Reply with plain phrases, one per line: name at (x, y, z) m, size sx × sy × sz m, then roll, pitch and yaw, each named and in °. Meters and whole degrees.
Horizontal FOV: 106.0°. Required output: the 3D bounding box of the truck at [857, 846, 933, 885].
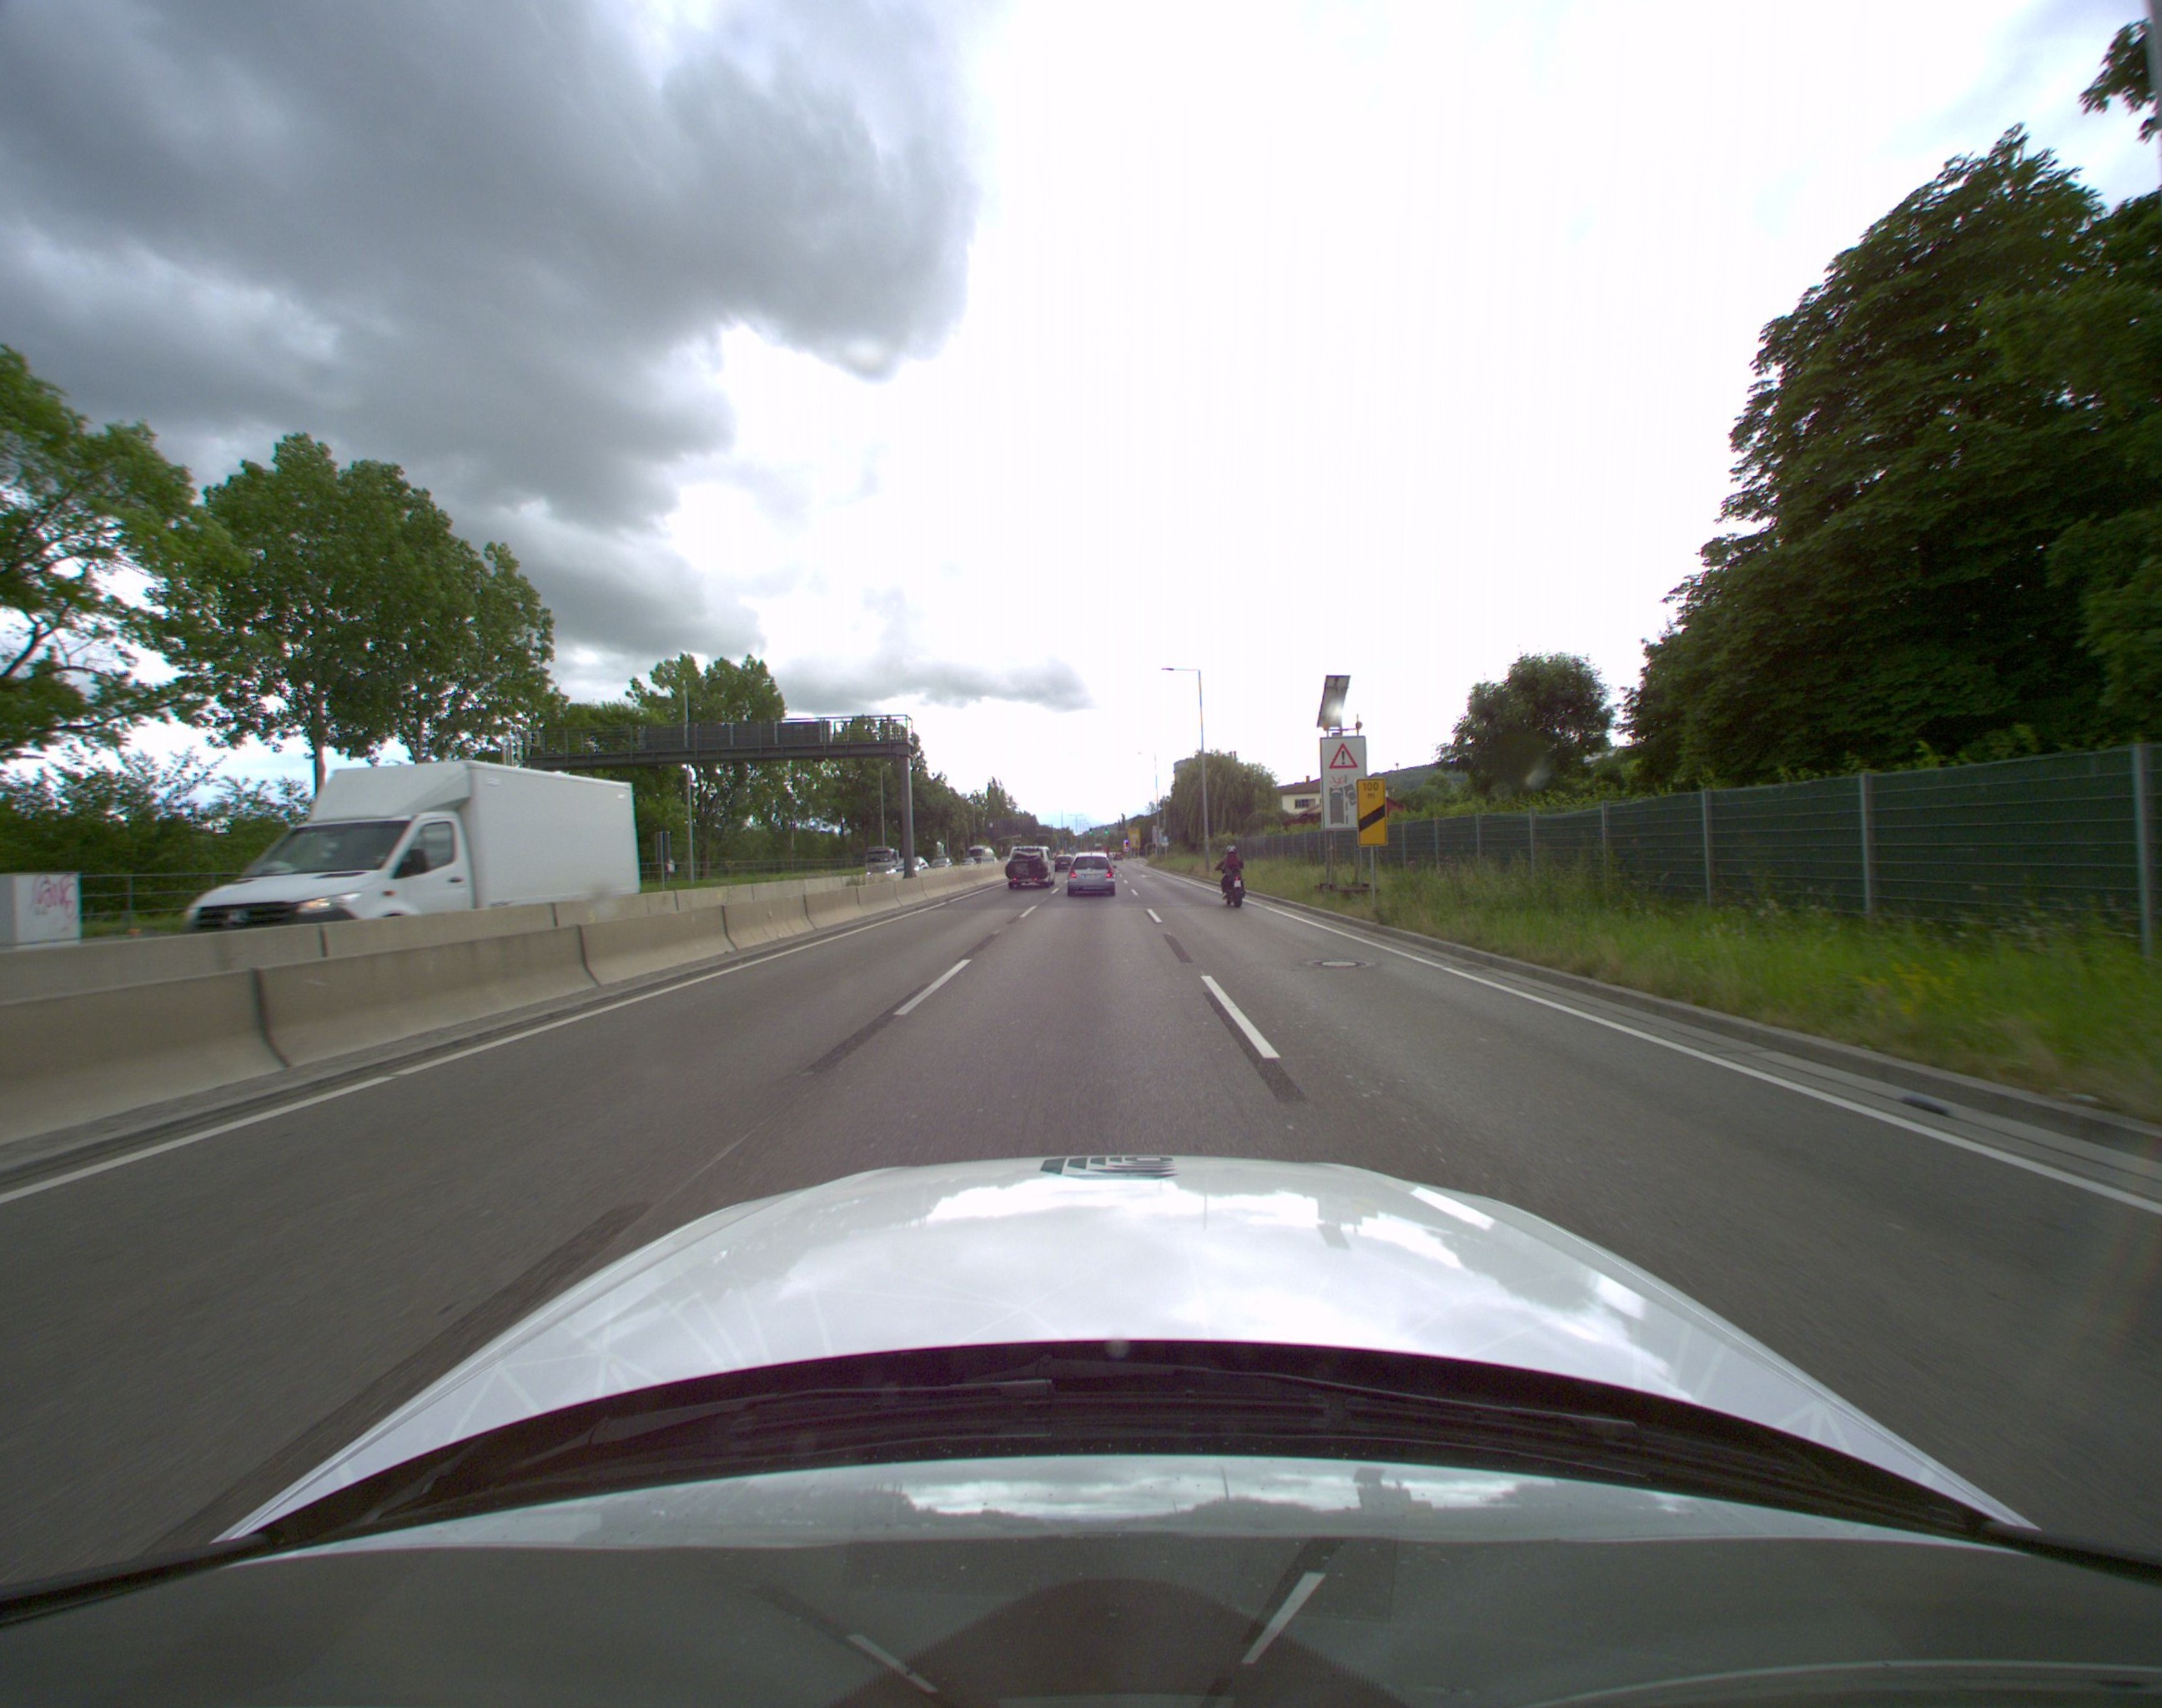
truck at (-16.312, 0.909, 72.985) m, size 2.844 × 3.107 × 15.888 m, roll 0°, pitch 0°, yaw 1°

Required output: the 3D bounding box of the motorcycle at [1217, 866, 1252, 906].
motorcycle at (4.279, 0.878, 22.835) m, size 0.703 × 1.040 × 2.029 m, roll 0°, pitch 0°, yaw 3°

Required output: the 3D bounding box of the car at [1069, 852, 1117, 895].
car at (0.471, 0.683, 30.912) m, size 1.704 × 1.530 × 4.001 m, roll 0°, pitch 0°, yaw 1°

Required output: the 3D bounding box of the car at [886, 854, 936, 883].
car at (-10.177, 0.845, 49.071) m, size 1.918 × 1.618 × 4.457 m, roll 0°, pitch 0°, yaw 2°

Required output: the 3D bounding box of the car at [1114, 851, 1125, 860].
car at (7.360, 0.286, 157.491) m, size 1.987 × 1.552 × 4.000 m, roll 0°, pitch 0°, yaw 0°

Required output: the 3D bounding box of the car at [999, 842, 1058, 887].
car at (-2.299, 0.453, 37.248) m, size 2.206 × 1.925 × 5.004 m, roll 0°, pitch 0°, yaw 2°

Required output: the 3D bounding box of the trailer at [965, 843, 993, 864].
trailer at (-16.016, -0.104, 128.622) m, size 3.091 × 3.220 × 11.664 m, roll 0°, pitch 0°, yaw -1°

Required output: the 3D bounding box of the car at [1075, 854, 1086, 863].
car at (-0.062, 0.735, 140.140) m, size 1.987 × 1.552 × 4.000 m, roll 0°, pitch 0°, yaw 0°

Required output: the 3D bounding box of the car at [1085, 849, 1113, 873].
car at (1.317, 0.468, 58.674) m, size 1.900 × 1.684 × 4.002 m, roll 0°, pitch 0°, yaw 2°

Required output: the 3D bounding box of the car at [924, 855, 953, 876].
car at (-12.981, 1.002, 74.572) m, size 1.809 × 1.877 × 4.102 m, roll 0°, pitch 0°, yaw 2°

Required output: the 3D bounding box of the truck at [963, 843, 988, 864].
truck at (-15.974, -0.086, 123.470) m, size 3.089 × 3.219 × 5.390 m, roll 0°, pitch 0°, yaw -1°

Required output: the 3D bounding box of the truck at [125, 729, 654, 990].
truck at (-10.137, 0.050, 13.313) m, size 2.395 × 3.107 × 7.203 m, roll 0°, pitch 0°, yaw 1°

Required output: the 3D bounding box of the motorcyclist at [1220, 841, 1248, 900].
motorcyclist at (4.276, 0.449, 22.766) m, size 0.682 × 1.610 × 0.846 m, roll 0°, pitch 0°, yaw 3°

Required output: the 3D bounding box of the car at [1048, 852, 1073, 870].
car at (-1.721, 0.577, 69.646) m, size 1.986 × 1.552 × 4.001 m, roll 0°, pitch 0°, yaw 1°

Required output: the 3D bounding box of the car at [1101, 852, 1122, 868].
car at (2.734, 0.521, 73.616) m, size 1.833 × 1.464 × 4.001 m, roll 0°, pitch 0°, yaw 1°
